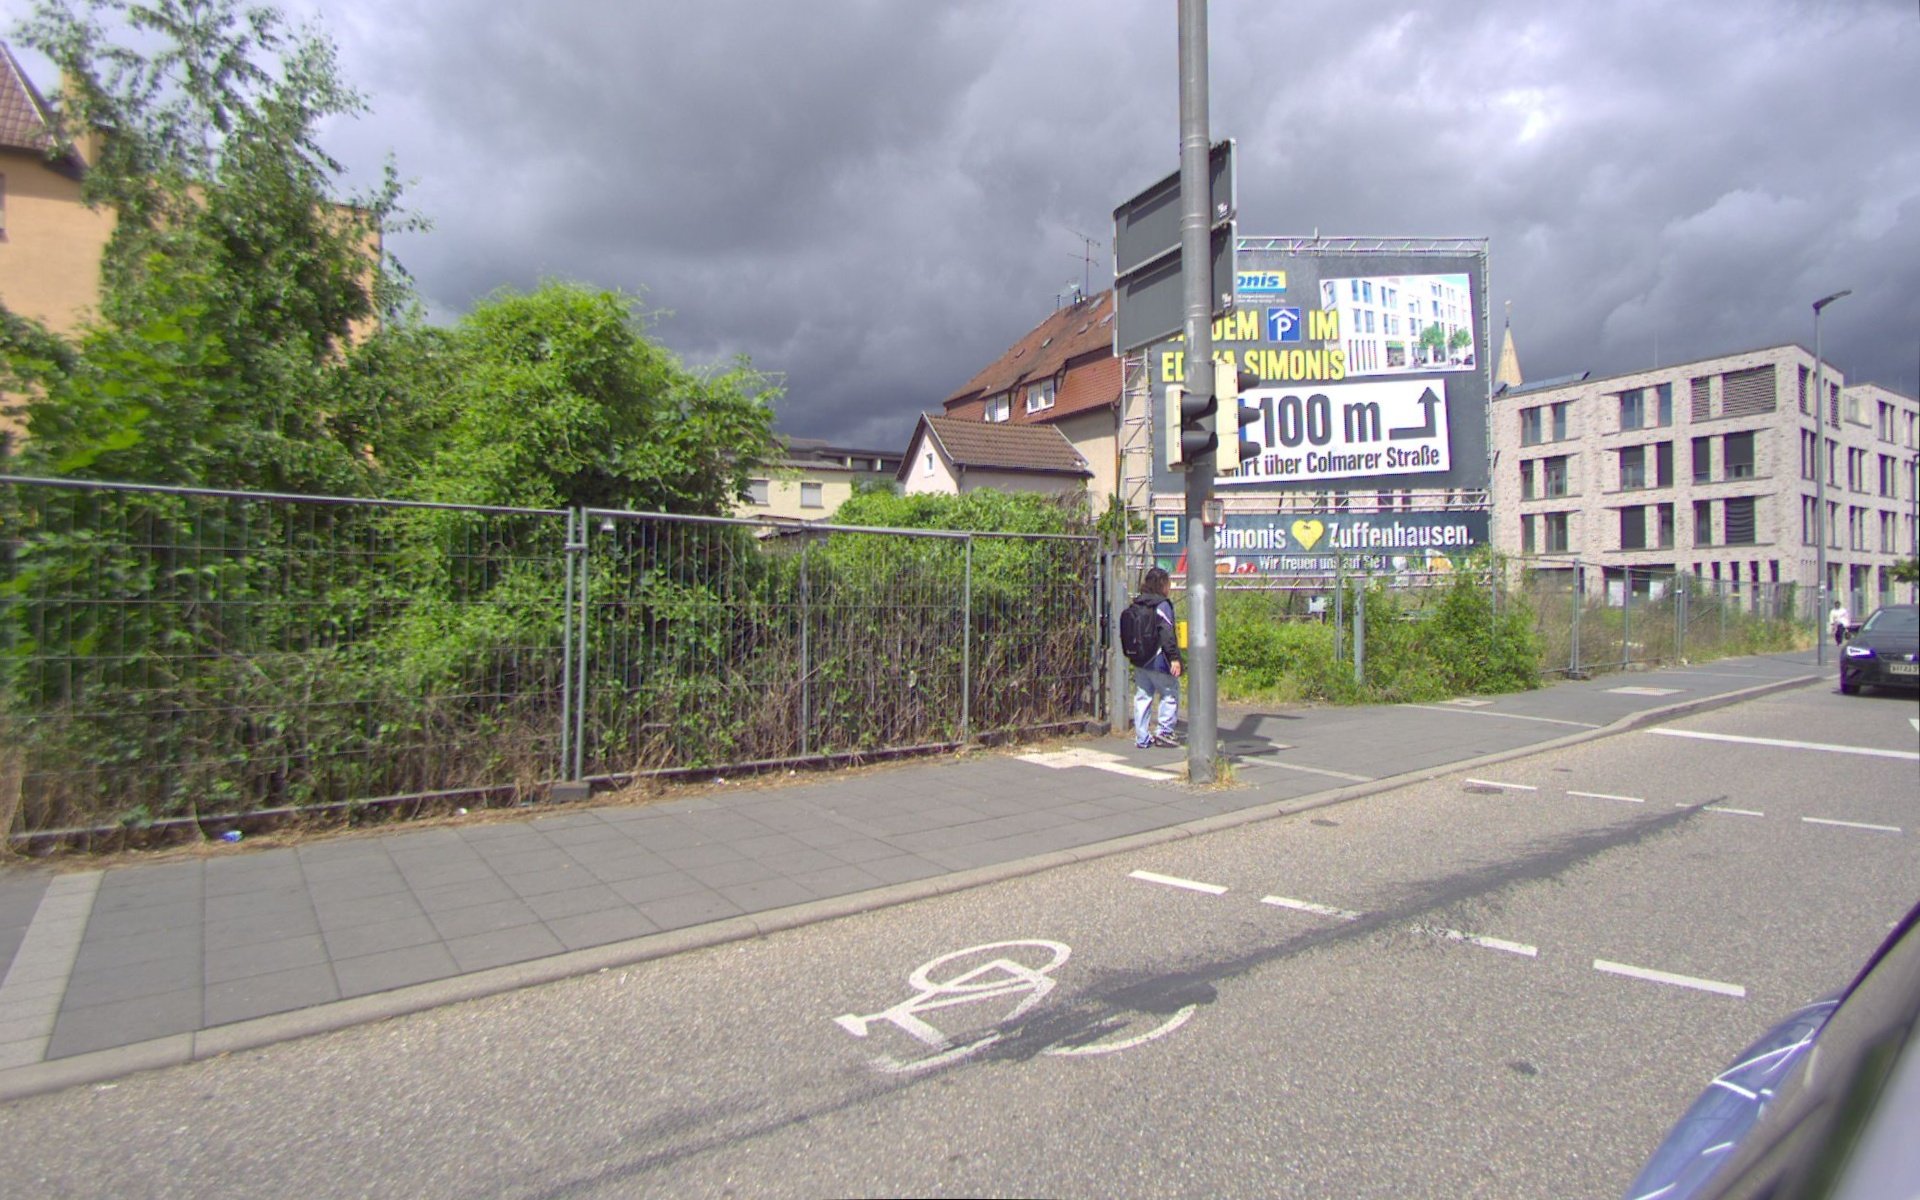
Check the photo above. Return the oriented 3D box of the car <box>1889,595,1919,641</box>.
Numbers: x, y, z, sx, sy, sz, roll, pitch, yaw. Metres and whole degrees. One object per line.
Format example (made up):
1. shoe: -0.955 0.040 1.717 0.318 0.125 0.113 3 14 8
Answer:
1. car: 32.739 0.597 34.015 3.726 1.441 1.678 -1 2 -39

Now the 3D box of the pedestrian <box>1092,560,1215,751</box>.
1. pedestrian: 1.774 0.484 9.337 0.762 1.663 0.768 2 0 -29

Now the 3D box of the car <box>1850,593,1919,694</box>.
1. car: 15.682 0.640 16.086 3.726 1.451 1.678 -1 1 -39

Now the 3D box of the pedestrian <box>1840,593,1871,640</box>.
1. pedestrian: 29.651 0.525 33.508 0.769 1.531 0.673 1 0 -41
